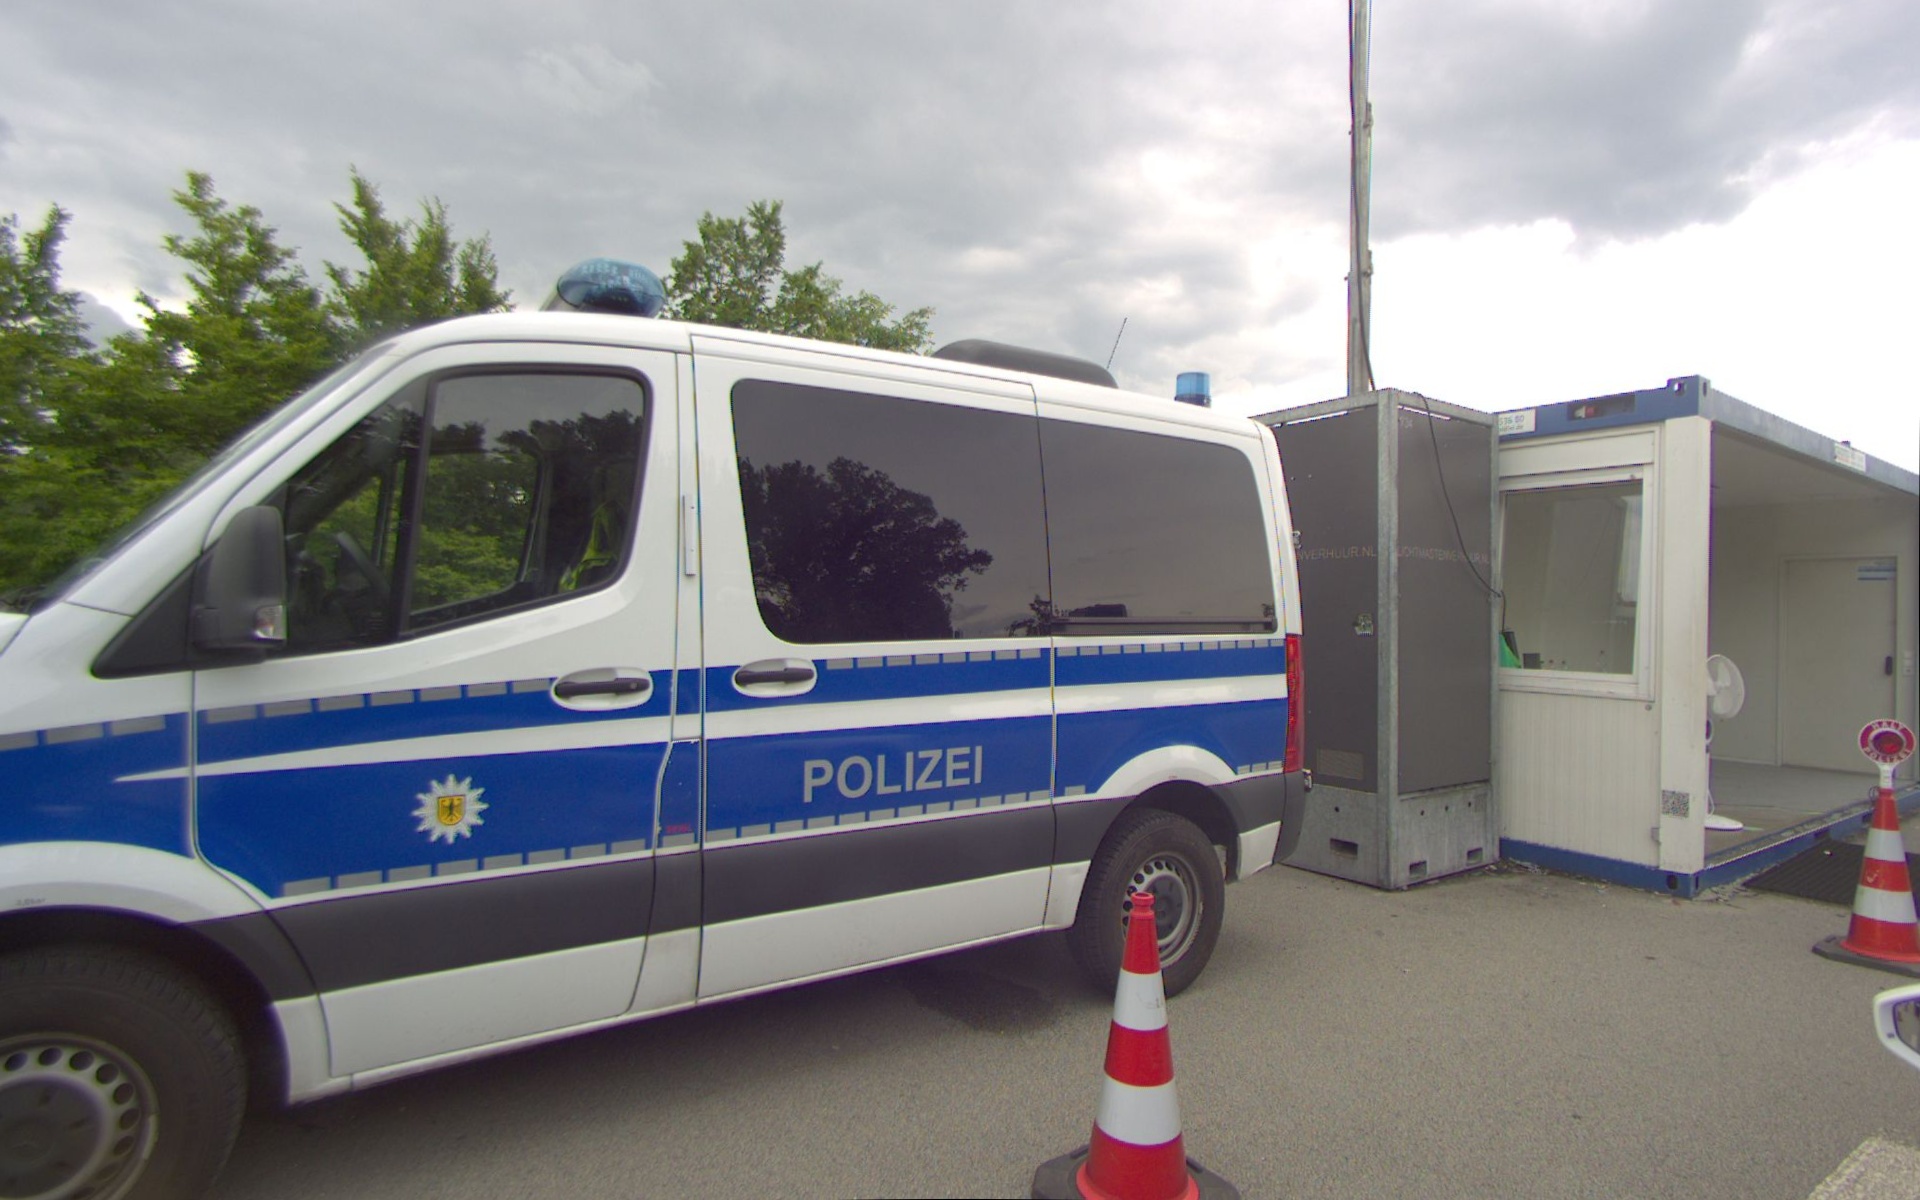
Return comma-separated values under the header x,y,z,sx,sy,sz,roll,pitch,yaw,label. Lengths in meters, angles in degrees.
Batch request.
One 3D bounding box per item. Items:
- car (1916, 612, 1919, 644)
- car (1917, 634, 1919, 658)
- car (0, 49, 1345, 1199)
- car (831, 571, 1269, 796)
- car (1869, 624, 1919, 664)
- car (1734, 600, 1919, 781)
x,y,z,sx,sy,sz,roll,pitch,yaw,label
70.435,2.052,72.640,1.836,2.252,4.230,1,-1,44,car
62.227,2.944,63.914,1.833,1.482,3.975,1,-1,45,car
-1.113,0.219,3.646,5.223,2.496,2.017,2,0,-33,car
0.949,0.695,9.777,3.966,1.766,1.857,2,-1,-34,car
38.313,1.747,40.675,4.226,1.518,1.838,2,-1,-43,car
10.728,0.935,11.460,3.966,1.766,1.857,2,-1,-34,car
